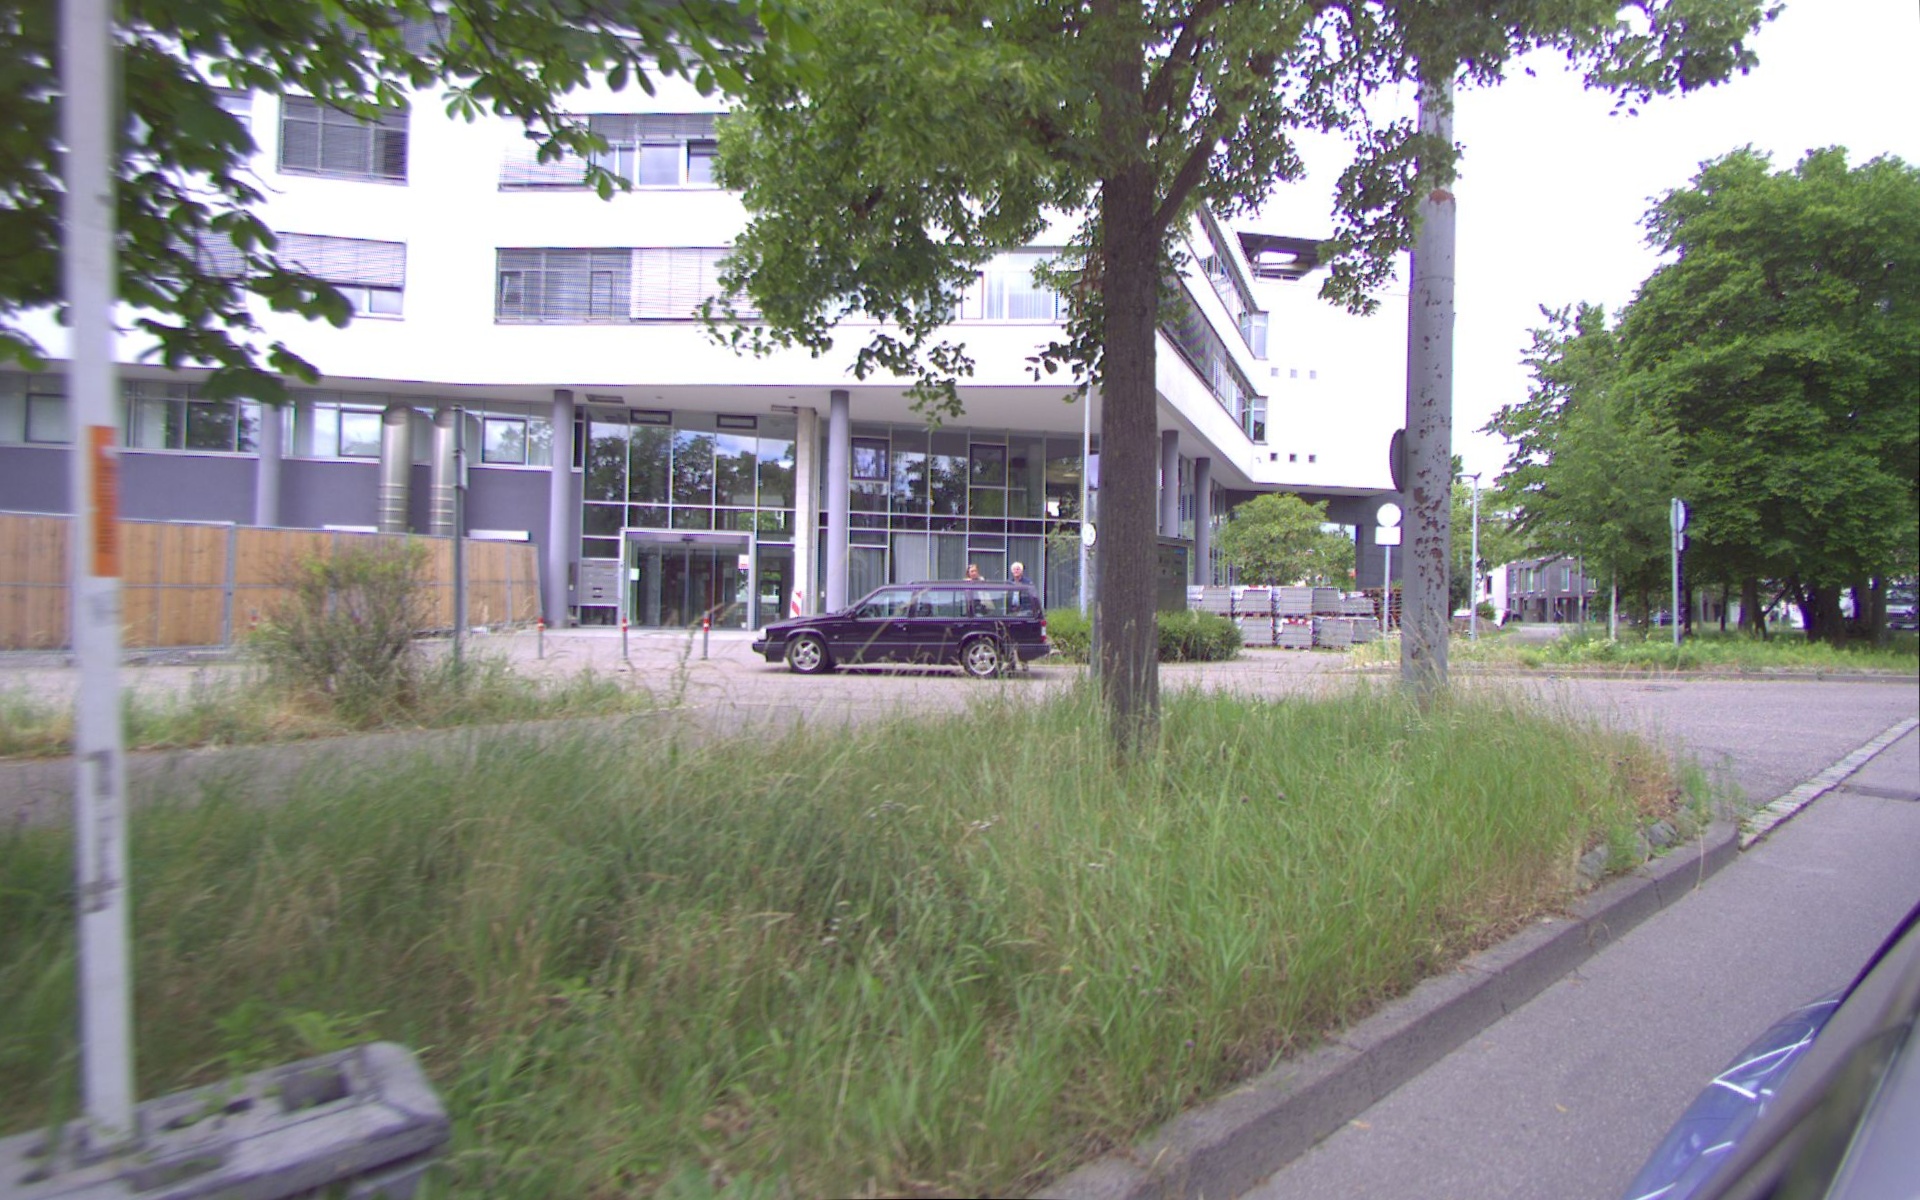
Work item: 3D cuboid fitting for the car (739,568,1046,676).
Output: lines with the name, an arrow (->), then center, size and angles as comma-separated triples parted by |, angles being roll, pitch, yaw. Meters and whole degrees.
car -> -0.971, 0.308, 16.164 | 4.659, 1.535, 1.869 | 1, 1, 6

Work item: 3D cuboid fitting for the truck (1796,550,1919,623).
truck -> 43.154, -0.618, 48.054 | 2.398, 3.235, 6.447 | 0, 0, 10

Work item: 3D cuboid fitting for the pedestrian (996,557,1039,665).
pedestrian -> 0.979, 0.184, 17.170 | 0.469, 1.777, 0.580 | 3, -2, 19

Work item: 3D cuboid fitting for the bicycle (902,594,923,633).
bicycle -> -1.383, 0.377, 29.179 | 0.384, 1.086, 1.403 | -1, -1, -12

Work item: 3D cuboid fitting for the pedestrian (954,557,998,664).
pedestrian -> 0.272, 0.180, 17.077 | 0.492, 1.747, 0.533 | 3, -2, 19
